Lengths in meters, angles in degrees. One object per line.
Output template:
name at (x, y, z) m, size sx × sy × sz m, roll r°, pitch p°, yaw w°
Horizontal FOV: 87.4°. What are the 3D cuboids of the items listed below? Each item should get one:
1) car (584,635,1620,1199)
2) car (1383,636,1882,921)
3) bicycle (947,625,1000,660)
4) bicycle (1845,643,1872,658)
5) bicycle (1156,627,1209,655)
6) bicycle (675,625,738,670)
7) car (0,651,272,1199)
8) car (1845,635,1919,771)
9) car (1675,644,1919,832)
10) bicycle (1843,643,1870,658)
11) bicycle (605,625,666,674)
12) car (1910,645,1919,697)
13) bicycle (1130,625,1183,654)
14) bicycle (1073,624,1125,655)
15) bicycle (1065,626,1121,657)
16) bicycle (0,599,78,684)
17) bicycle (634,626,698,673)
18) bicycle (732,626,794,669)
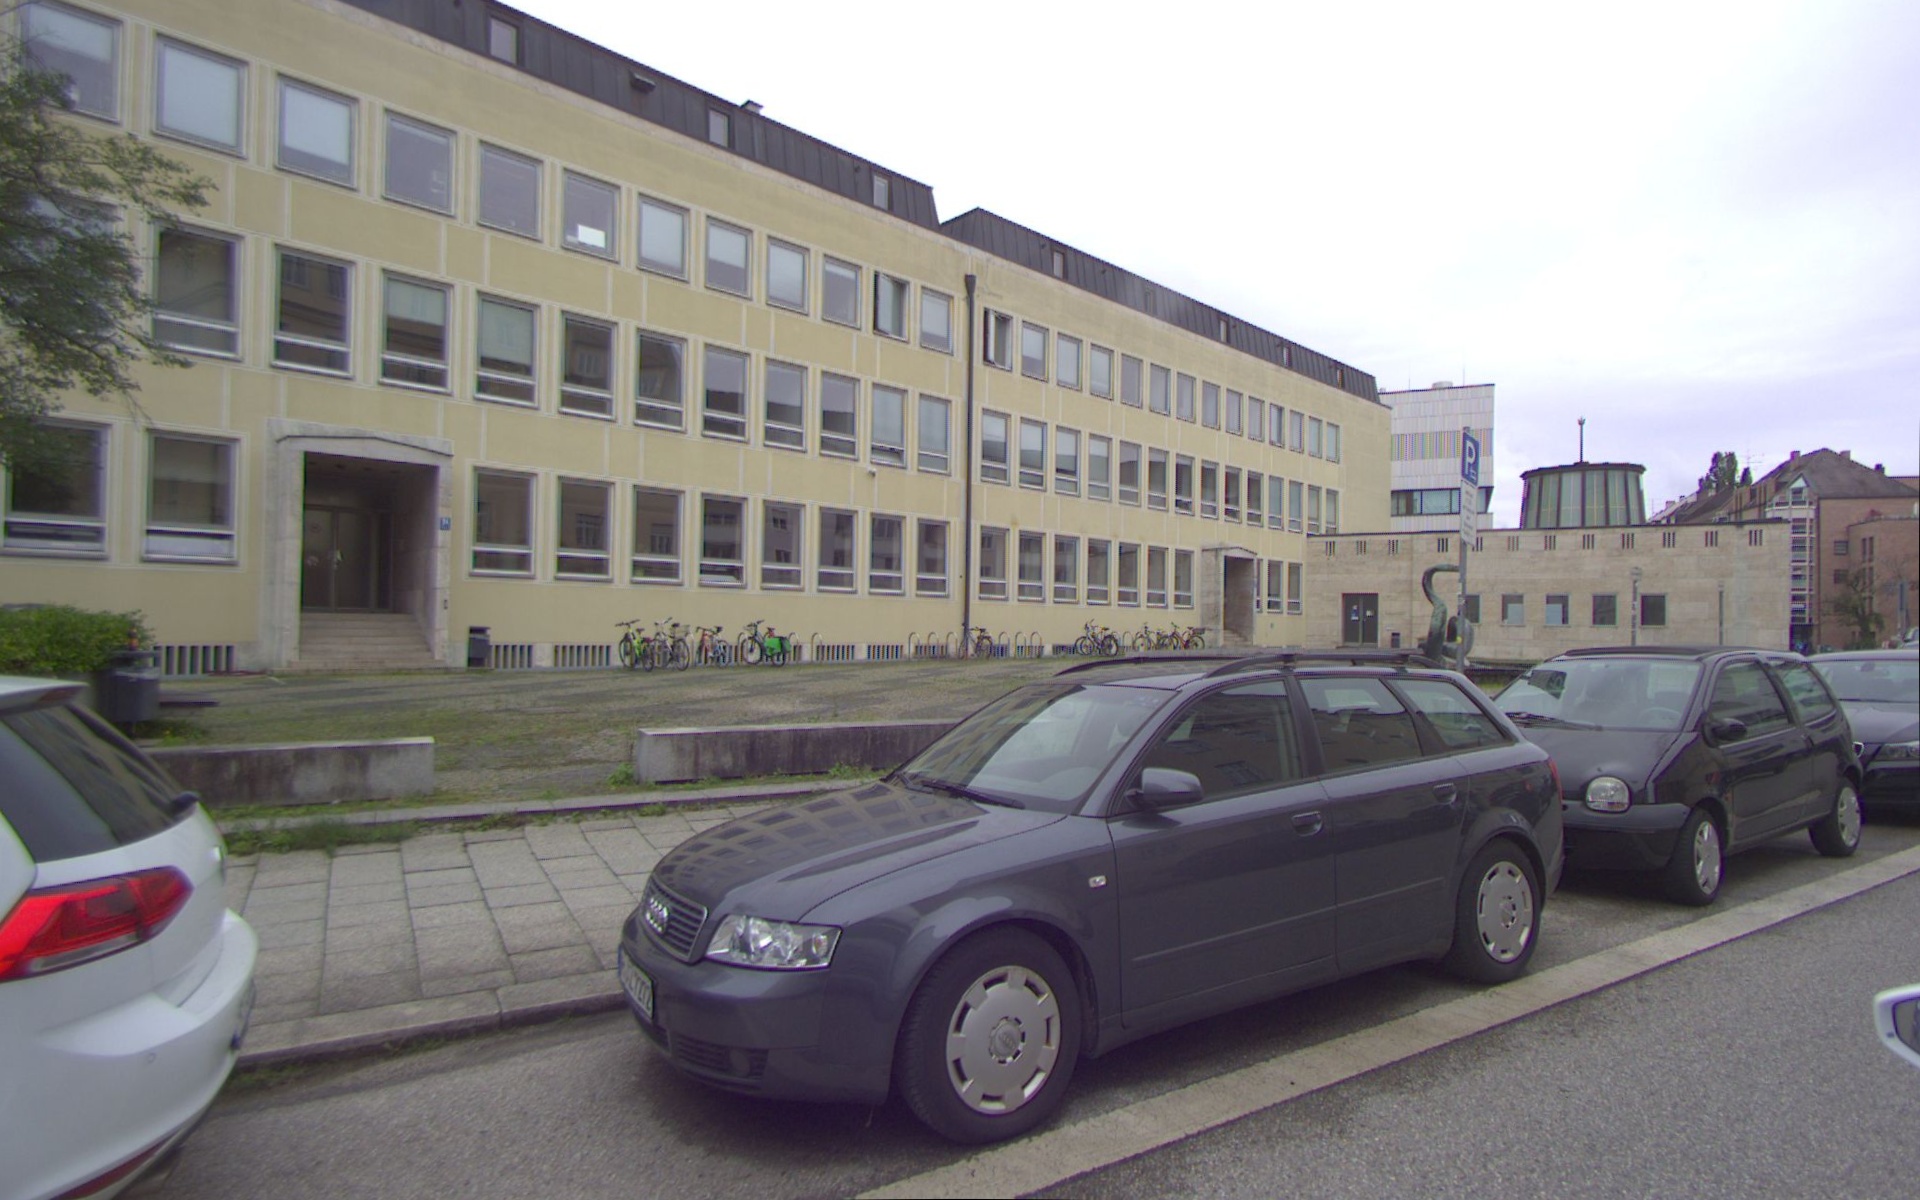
car at (0.818, 0.911, 4.358) m, size 4.347 × 1.472 × 1.746 m, roll 2°, pitch -3°, yaw -32°
car at (4.617, 1.003, 6.833) m, size 3.277 × 1.472 × 1.647 m, roll 2°, pitch -3°, yaw -33°
bicycle at (0.407, 1.314, 31.157) m, size 0.619 × 1.028 × 1.933 m, roll 1°, pitch -1°, yaw -36°
bicycle at (81.587, 4.565, 91.211) m, size 1.728 × 1.305 × 0.552 m, roll 1°, pitch -1°, yaw 30°
bicycle at (8.505, 1.558, 38.404) m, size 1.923 × 1.028 × 0.623 m, roll 0°, pitch -1°, yaw 40°
bicycle at (-6.162, 1.129, 24.374) m, size 0.621 × 1.028 × 1.928 m, roll 1°, pitch -1°, yaw -43°
car at (-3.617, 0.827, 1.631) m, size 4.029 × 1.472 × 1.647 m, roll 2°, pitch -3°, yaw -33°
car at (12.072, 1.183, 11.972) m, size 2.949 × 1.521 × 1.659 m, roll 2°, pitch -3°, yaw -36°
car at (8.701, 1.130, 9.478) m, size 4.410 × 1.424 × 1.788 m, roll 2°, pitch -3°, yaw -35°
bicycle at (81.918, 4.610, 91.789) m, size 1.728 × 1.305 × 0.552 m, roll 1°, pitch -1°, yaw 30°
bicycle at (-7.322, 1.101, 22.615) m, size 0.620 × 1.028 × 1.931 m, roll 1°, pitch -1°, yaw -39°
car at (29.422, 1.925, 27.927) m, size 4.003 × 1.500 × 1.687 m, roll -2°, pitch -5°, yaw 10°
bicycle at (7.348, 1.476, 37.596) m, size 0.621 × 1.028 × 1.928 m, roll 2°, pitch -1°, yaw -43°
bicycle at (4.923, 1.398, 35.695) m, size 0.620 × 1.028 × 1.931 m, roll 1°, pitch -1°, yaw -39°
bicycle at (4.591, 1.418, 34.830) m, size 1.926 × 1.028 × 0.622 m, roll 0°, pitch -1°, yaw 44°
bicycle at (-14.784, 0.625, 15.885) m, size 2.409 × 1.265 × 1.050 m, roll 0°, pitch -1°, yaw 44°
bicycle at (-6.825, 1.127, 23.284) m, size 0.621 × 1.028 × 1.928 m, roll 1°, pitch -1°, yaw -43°
bicycle at (-4.963, 1.176, 25.227) m, size 0.621 × 1.028 × 1.928 m, roll 1°, pitch -1°, yaw -43°
